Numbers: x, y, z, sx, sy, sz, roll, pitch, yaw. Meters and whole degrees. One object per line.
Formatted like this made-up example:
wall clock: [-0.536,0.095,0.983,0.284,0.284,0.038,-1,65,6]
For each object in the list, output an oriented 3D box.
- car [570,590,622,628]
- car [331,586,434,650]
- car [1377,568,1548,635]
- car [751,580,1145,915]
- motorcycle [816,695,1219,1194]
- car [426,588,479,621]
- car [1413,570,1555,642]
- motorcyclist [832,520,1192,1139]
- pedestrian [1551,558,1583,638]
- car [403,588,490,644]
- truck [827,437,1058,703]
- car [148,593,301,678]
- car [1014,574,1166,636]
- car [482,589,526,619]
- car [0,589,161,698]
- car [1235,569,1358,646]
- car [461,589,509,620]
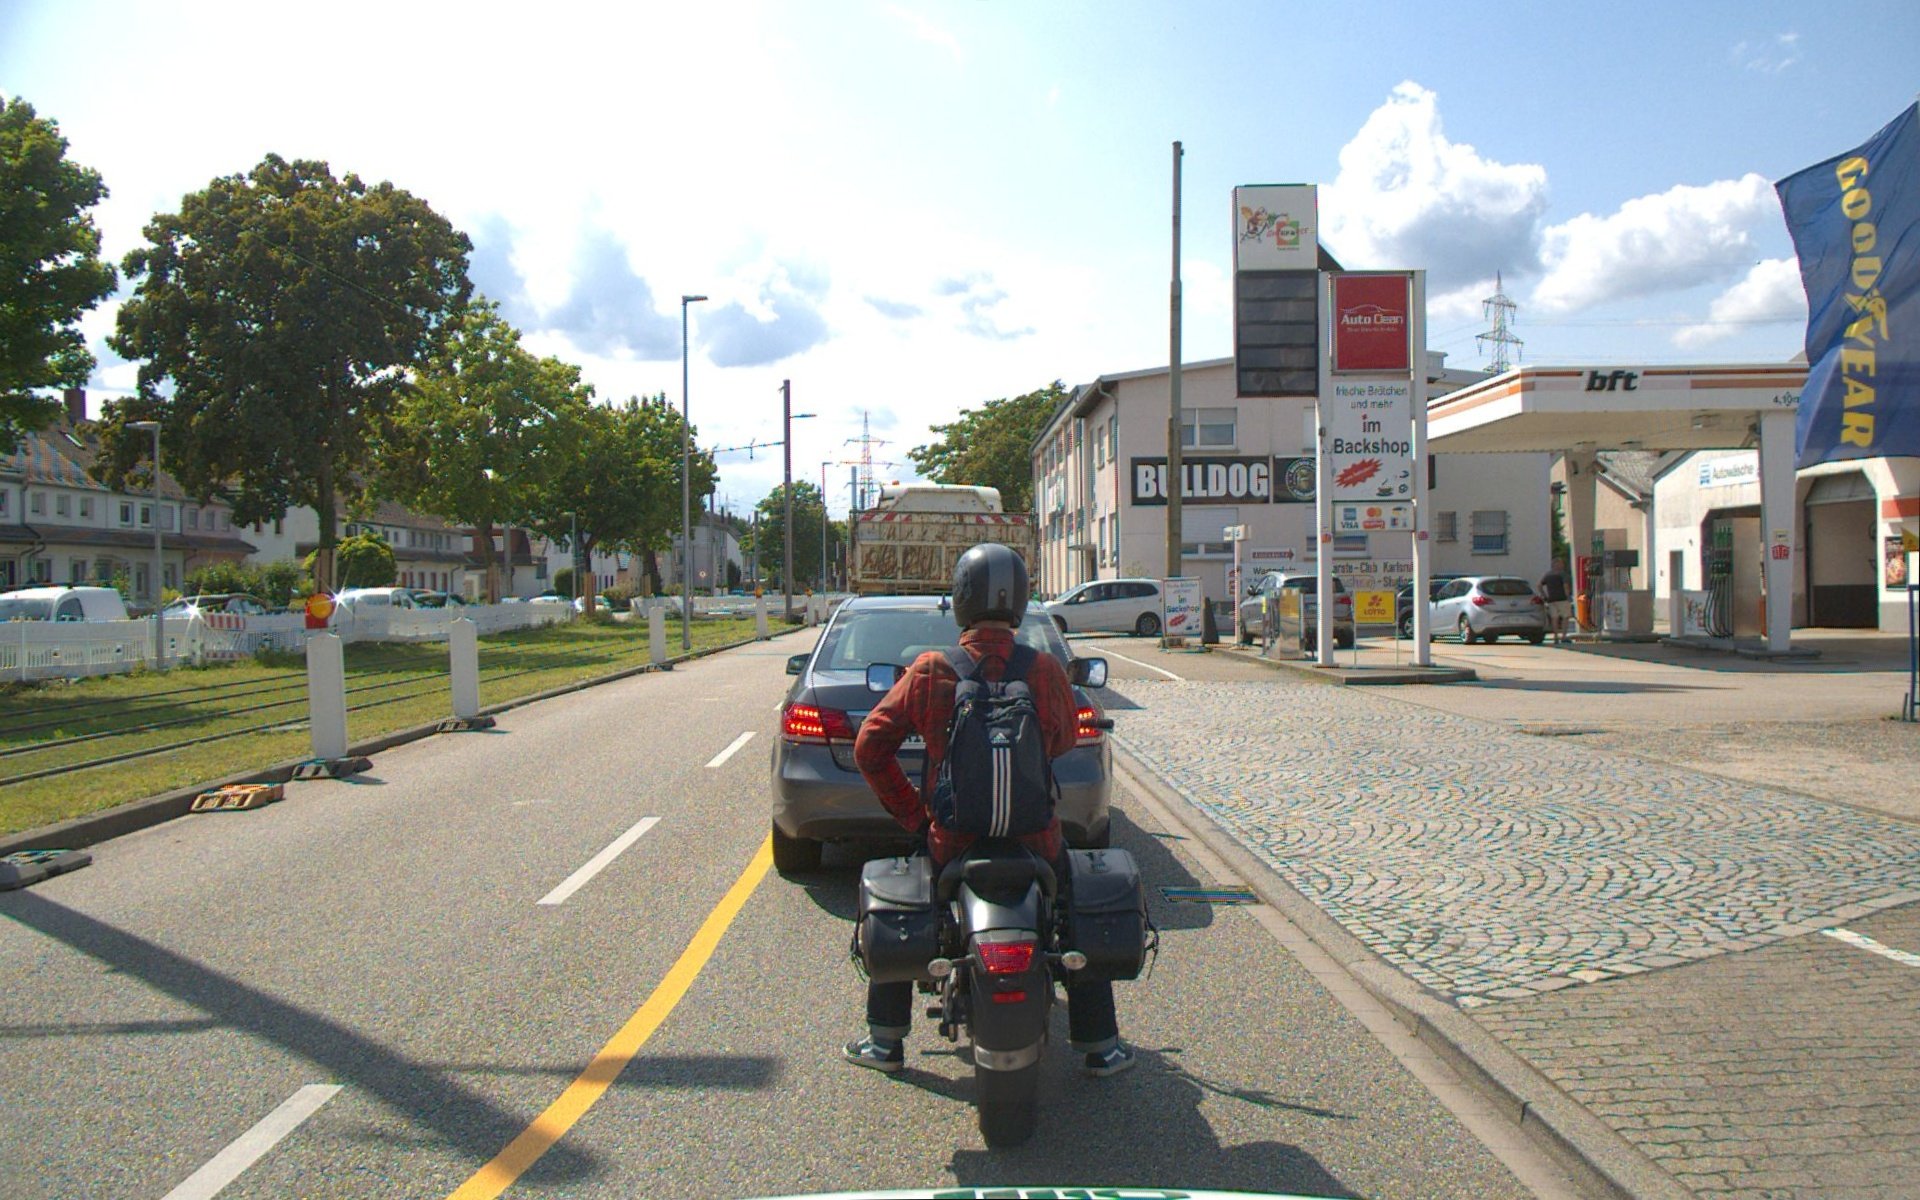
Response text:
car: [-17.493,0.405,79.597,1.664,1.770,3.860,-1,0,-1]
car: [-16.912,0.492,48.612,1.664,1.770,3.860,-1,0,-1]
car: [13.141,0.029,43.435,4.018,1.652,1.687,-1,0,4]
car: [-0.114,0.661,9.654,1.795,1.505,4.008,-1,0,-2]
motorcycle: [0.122,0.900,5.192,0.956,1.031,2.431,1,0,-1]
car: [-28.184,0.243,91.931,1.664,1.770,4.061,-1,0,-1]
car: [11.774,0.103,37.419,1.795,1.505,4.008,-1,0,-2]
motorcyclist: [0.133,0.617,5.074,0.950,1.662,1.214,1,0,-1]
pedestrian: [13.136,-0.047,35.790,0.621,1.712,0.622,-1,0,20]
car: [-17.019,0.496,54.978,1.664,1.770,3.860,-1,0,-1]
truck: [-0.353,-0.422,25.467,2.910,3.362,8.404,-1,0,-2]
car: [-16.671,0.756,37.714,1.664,1.770,4.053,-1,0,-1]
car: [3.671,0.118,47.082,4.029,1.652,1.682,-1,0,-9]
car: [-28.668,0.229,104.143,1.664,1.770,4.061,-1,0,-1]
car: [-16.416,0.743,30.291,1.664,1.849,3.860,-1,0,-1]
car: [7.403,0.143,36.753,1.795,1.562,4.008,-1,0,-2]
car: [-28.062,0.260,97.888,1.664,1.770,4.061,-1,0,-1]
